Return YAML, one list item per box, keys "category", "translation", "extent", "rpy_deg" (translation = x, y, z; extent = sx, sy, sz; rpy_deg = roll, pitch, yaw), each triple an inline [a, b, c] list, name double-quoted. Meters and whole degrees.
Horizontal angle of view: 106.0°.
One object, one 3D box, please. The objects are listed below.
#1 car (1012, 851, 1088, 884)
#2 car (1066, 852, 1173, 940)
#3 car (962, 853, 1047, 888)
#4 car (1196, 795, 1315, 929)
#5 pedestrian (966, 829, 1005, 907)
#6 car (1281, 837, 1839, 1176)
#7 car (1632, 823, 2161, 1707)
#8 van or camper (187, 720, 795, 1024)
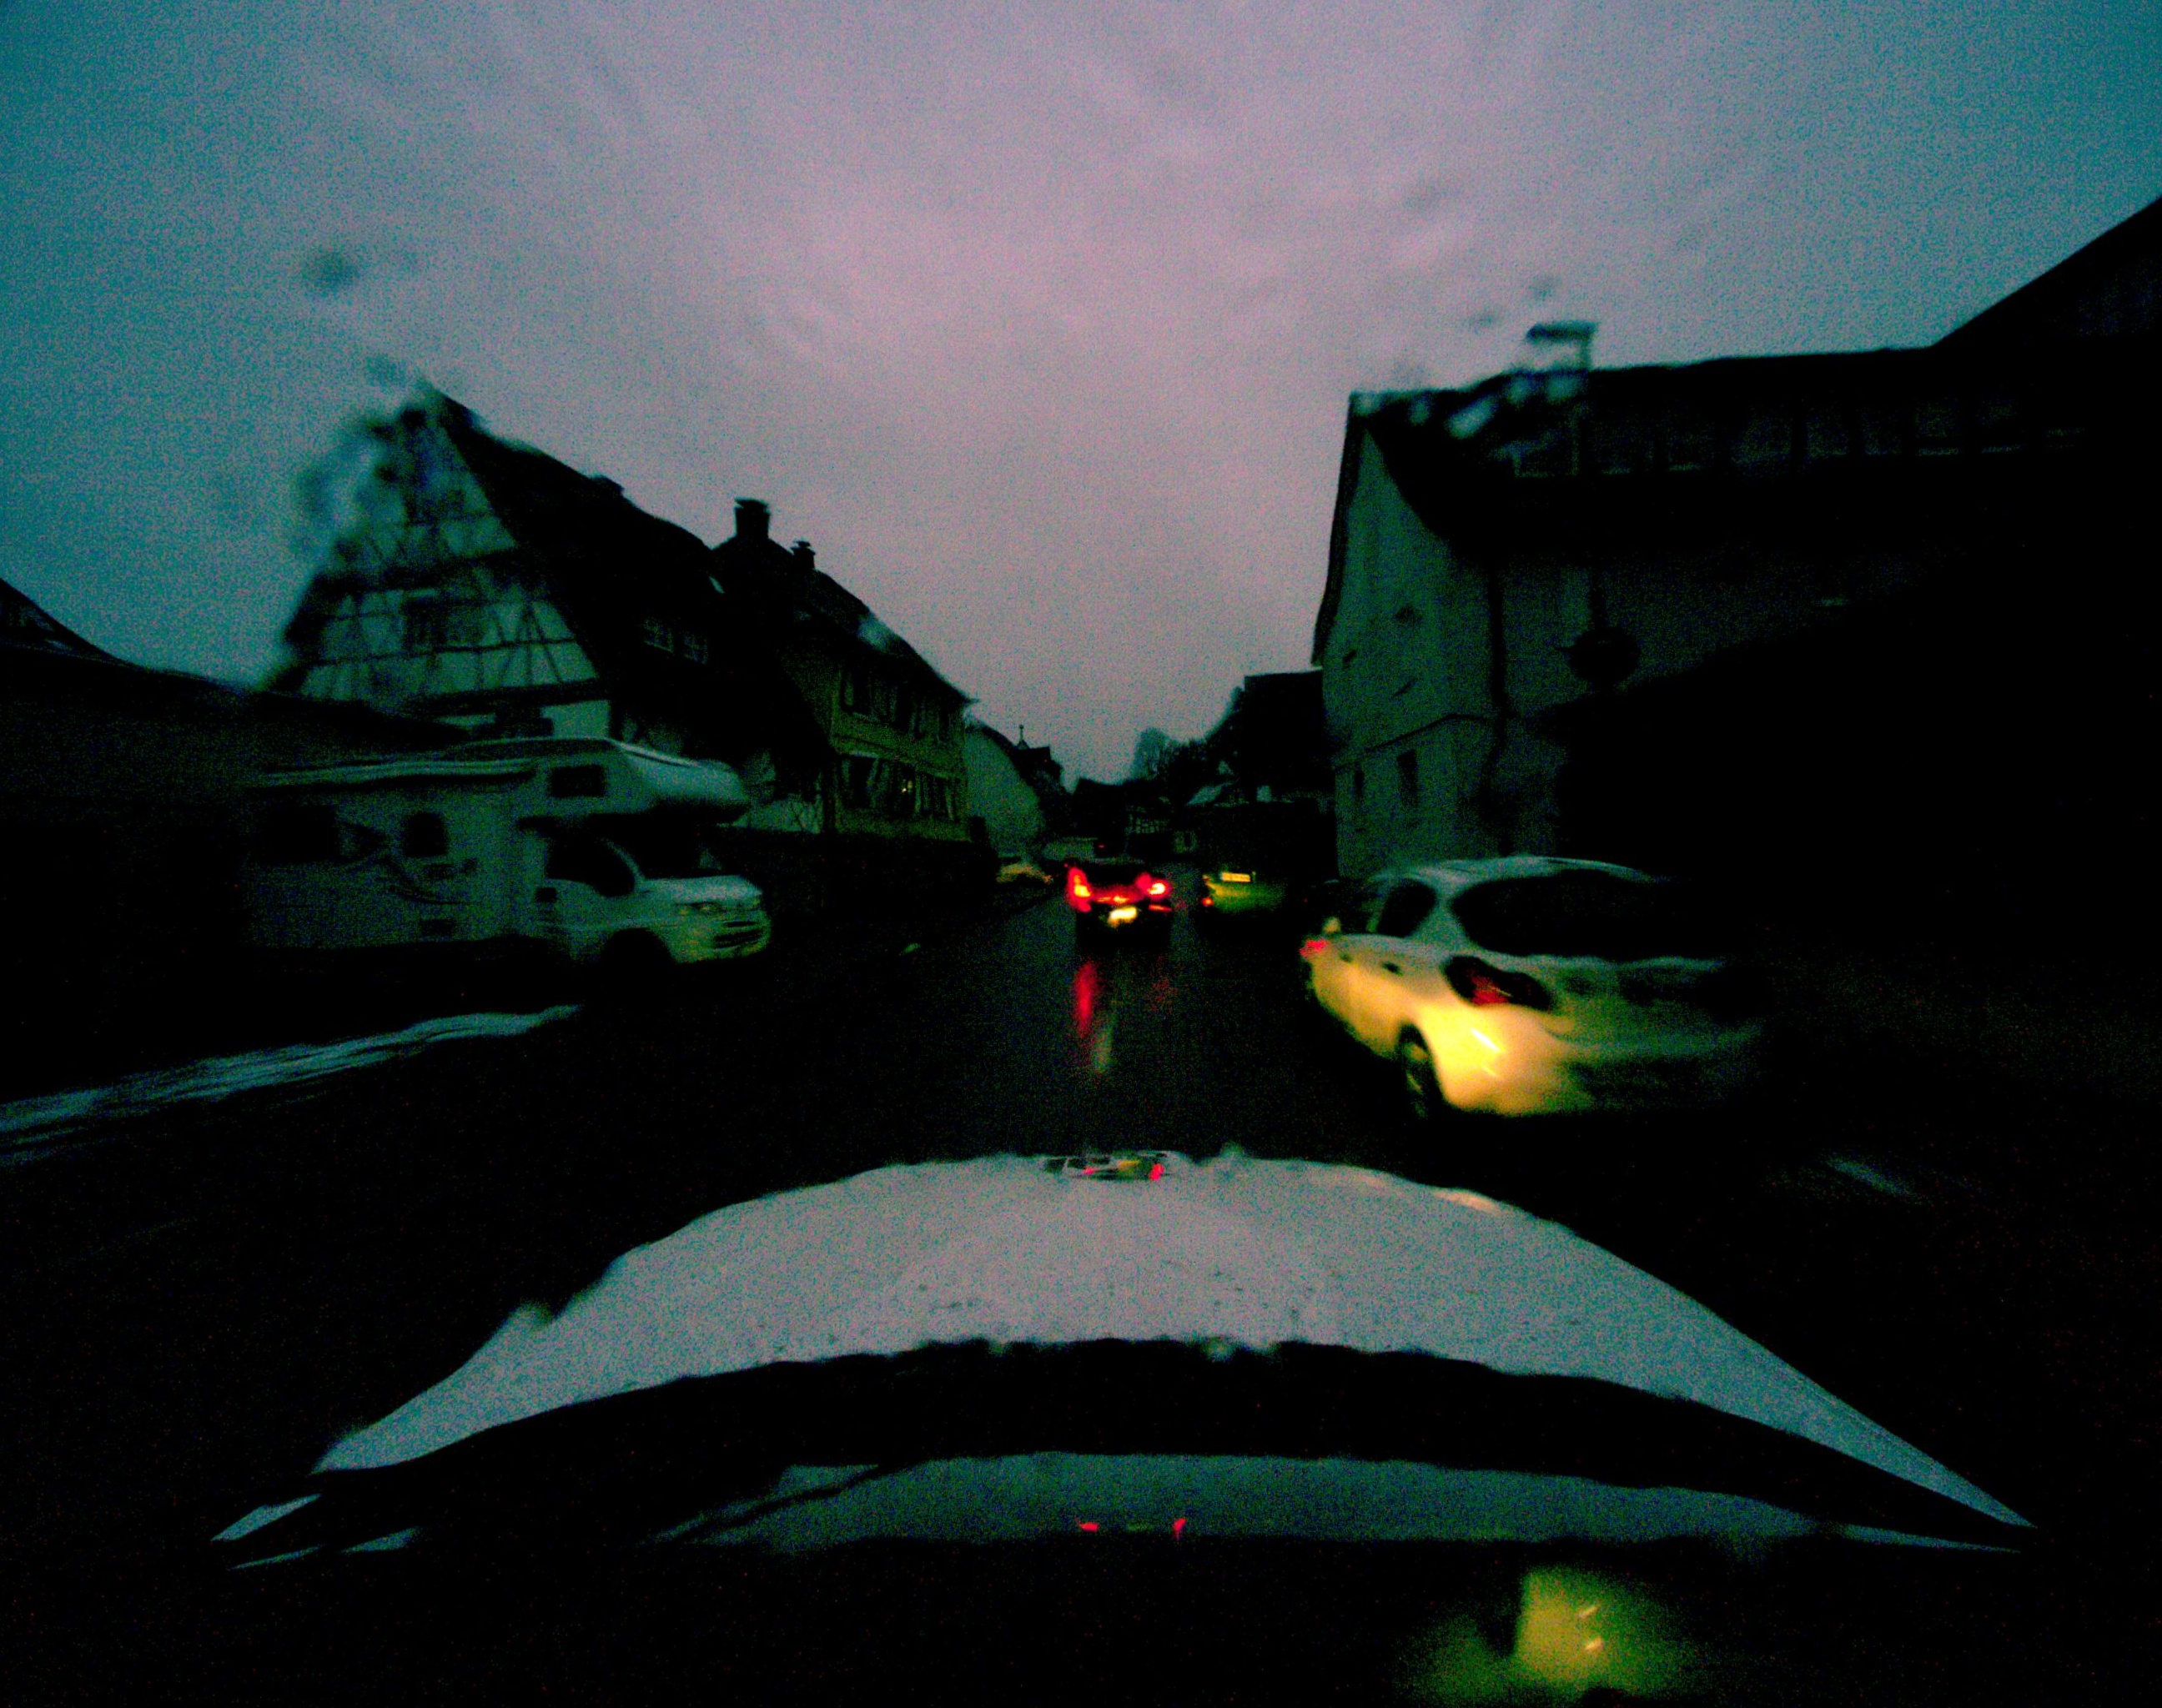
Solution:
- category: "car"
  translation: [-1.467, 0.647, 39.611]
  extent: [3.493, 1.507, 1.694]
  rpy_deg: [-1, 0, 3]
- category: "car"
  translation: [0.728, 0.705, 15.668]
  extent: [1.788, 1.476, 4.002]
  rpy_deg: [0, 0, 2]
- category: "car"
  translation: [-3.429, 0.741, 37.007]
  extent: [3.487, 1.507, 1.696]
  rpy_deg: [-1, 0, 9]
- category: "car"
  translation: [3.461, 0.141, 16.805]
  extent: [1.806, 2.413, 3.755]
  rpy_deg: [-2, 0, 4]
- category: "pedestrian"
  translation: [-2.518, 0.363, 21.600]
  extent: [0.870, 2.013, 0.795]
  rpy_deg: [-2, 0, 1]
- category: "car"
  translation: [2.643, 0.693, 5.597]
  extent: [1.718, 1.507, 3.754]
  rpy_deg: [-2, 0, 2]
- category: "car"
  translation: [2.357, 0.636, 0.421]
  extent: [1.673, 1.395, 3.753]
  rpy_deg: [-2, 0, 2]
- category: "van or camper"
  translation: [-7.177, 0.254, 10.341]
  extent: [6.028, 2.955, 2.411]
  rpy_deg: [-5, 0, 7]
